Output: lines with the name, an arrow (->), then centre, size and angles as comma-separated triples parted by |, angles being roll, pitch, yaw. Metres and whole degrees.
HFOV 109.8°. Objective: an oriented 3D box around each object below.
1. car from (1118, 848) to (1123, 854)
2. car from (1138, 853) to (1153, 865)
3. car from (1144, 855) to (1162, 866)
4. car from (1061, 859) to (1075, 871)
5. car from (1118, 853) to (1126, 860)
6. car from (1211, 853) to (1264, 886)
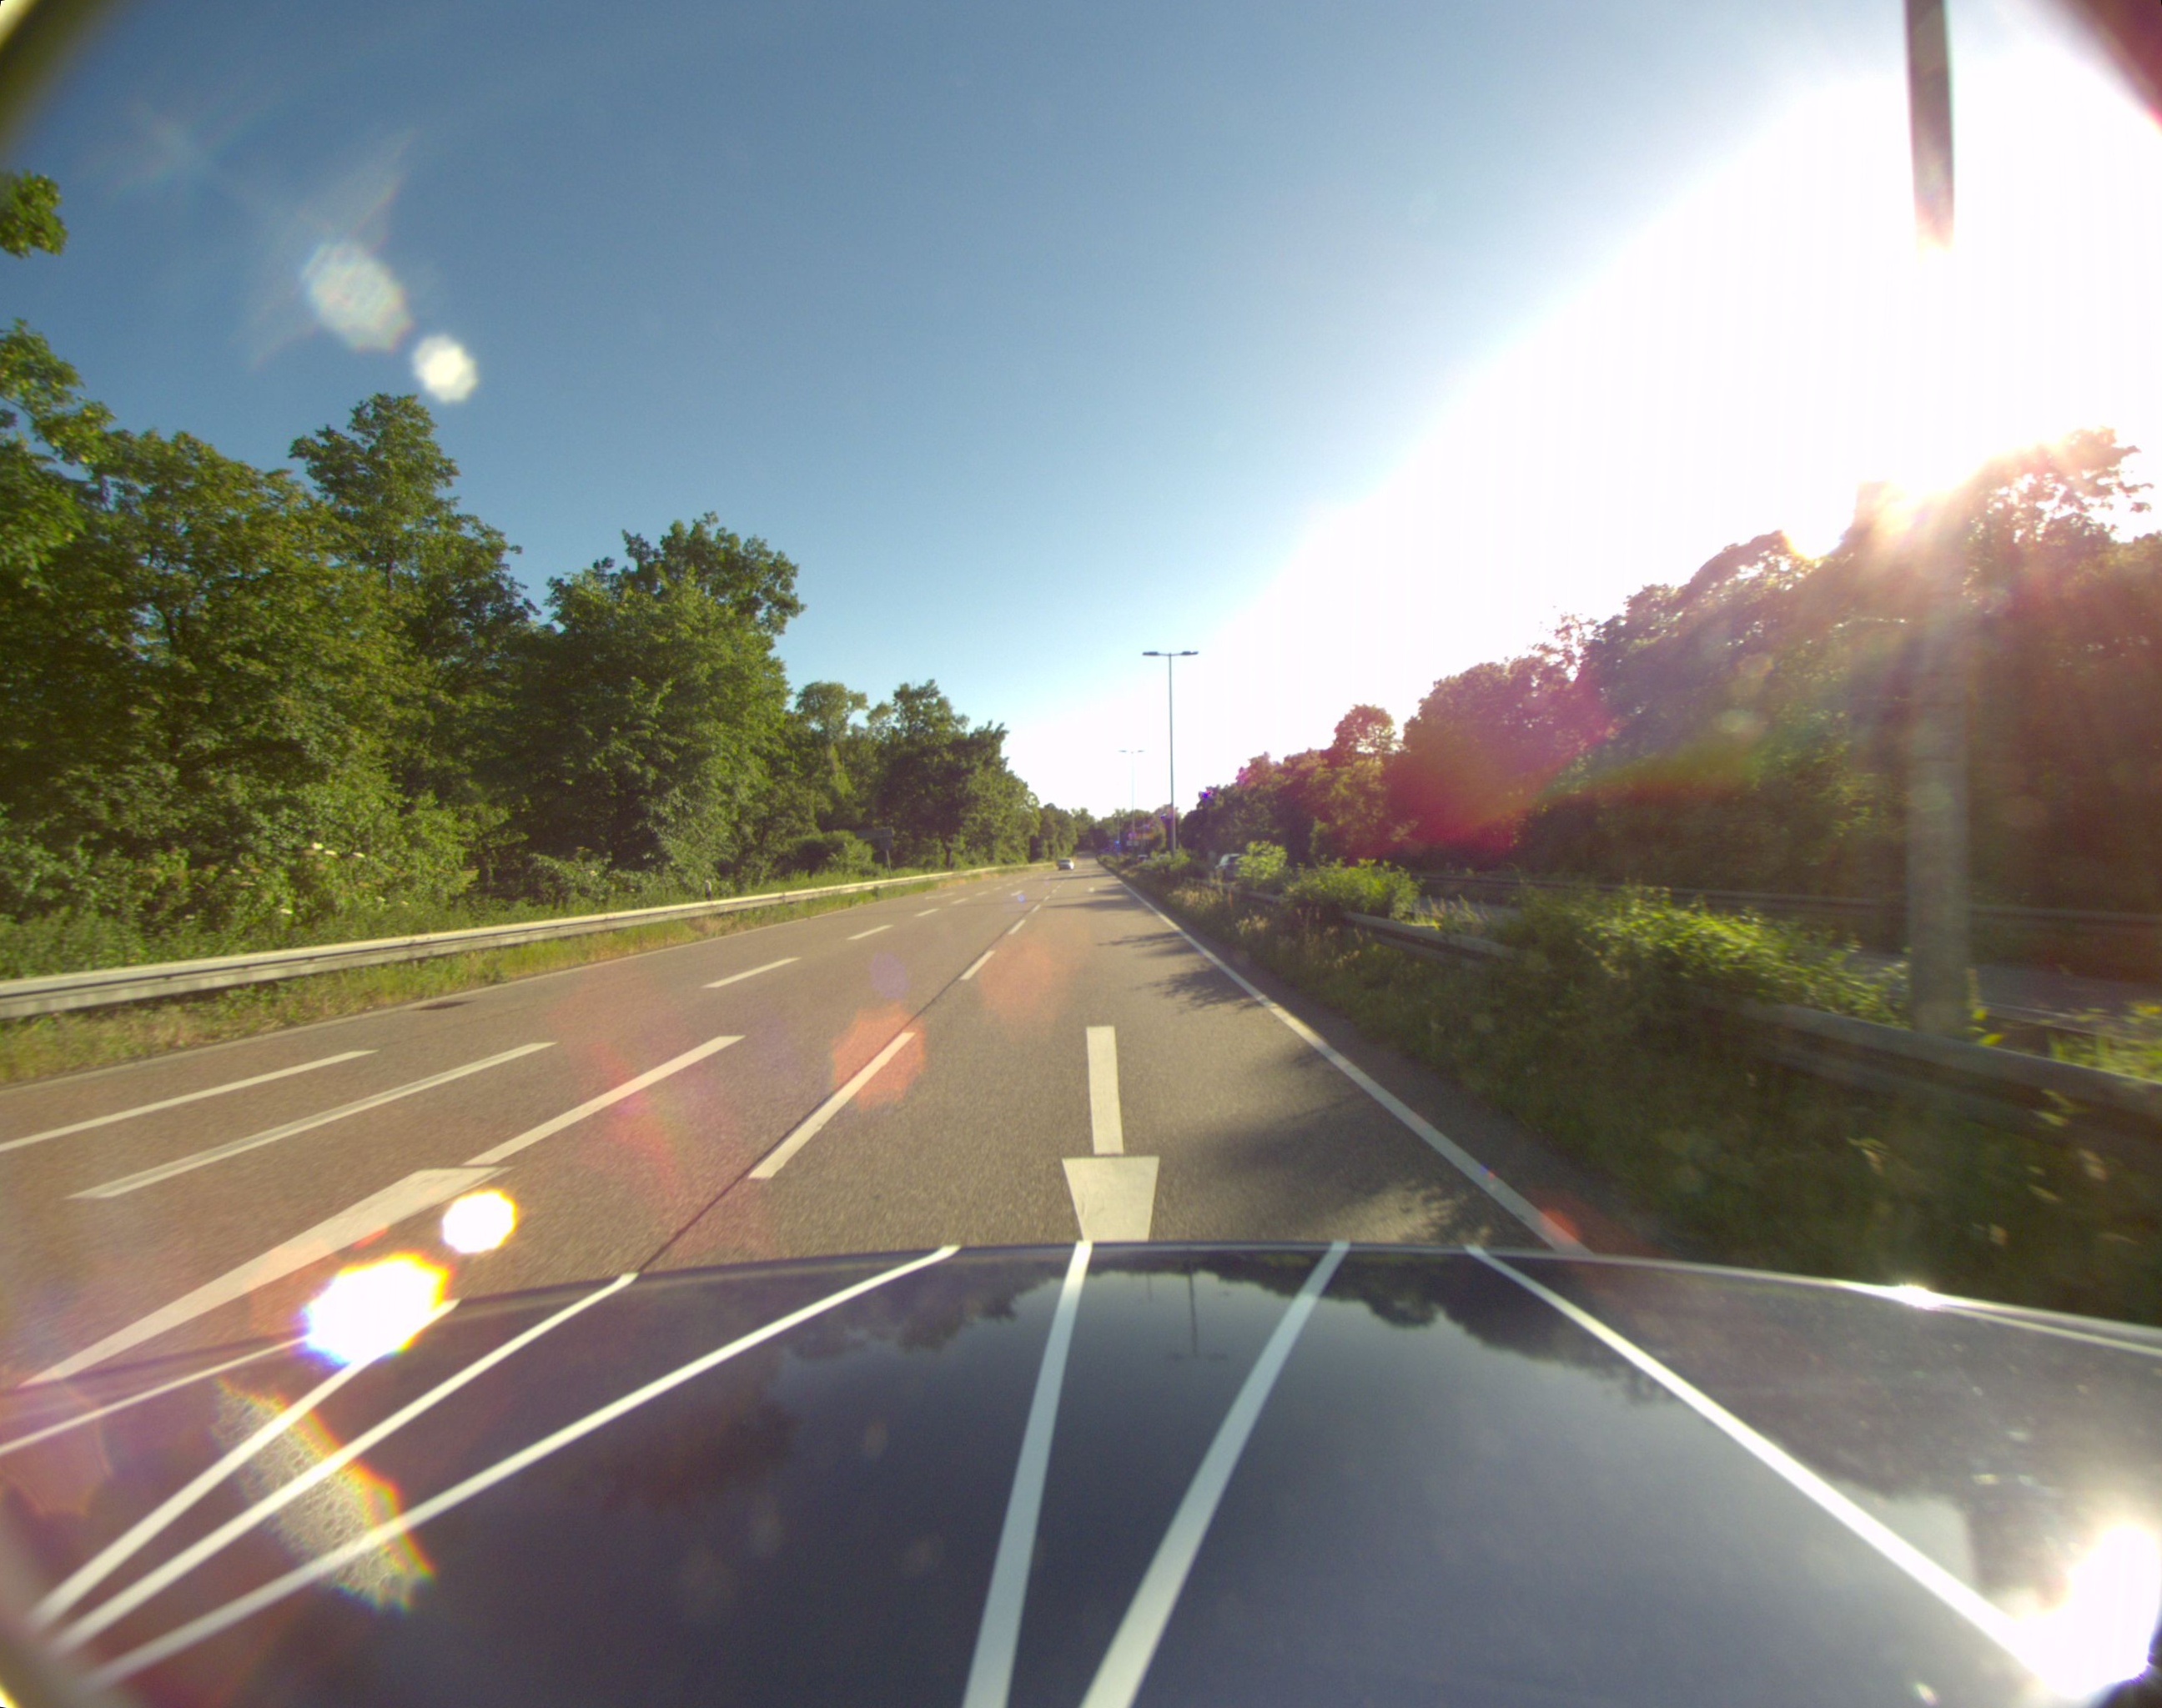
car -> 12.056, -0.895, 231.475 | 1.622, 1.521, 4.609 | -1, 0, 2
car -> 9.443, 0.701, 111.917 | 1.790, 1.700, 4.547 | 1, 0, 0
car -> 8.832, 0.799, 93.470 | 1.777, 1.349, 4.462 | -1, 0, 0
car -> -1.560, 1.369, 94.165 | 1.682, 1.477, 3.390 | 0, -1, 0
car -> 10.523, 0.614, 193.148 | 1.846, 1.747, 4.712 | -1, 0, 1
car -> 7.939, 0.750, 38.896 | 1.774, 1.560, 4.218 | 0, 0, -1
